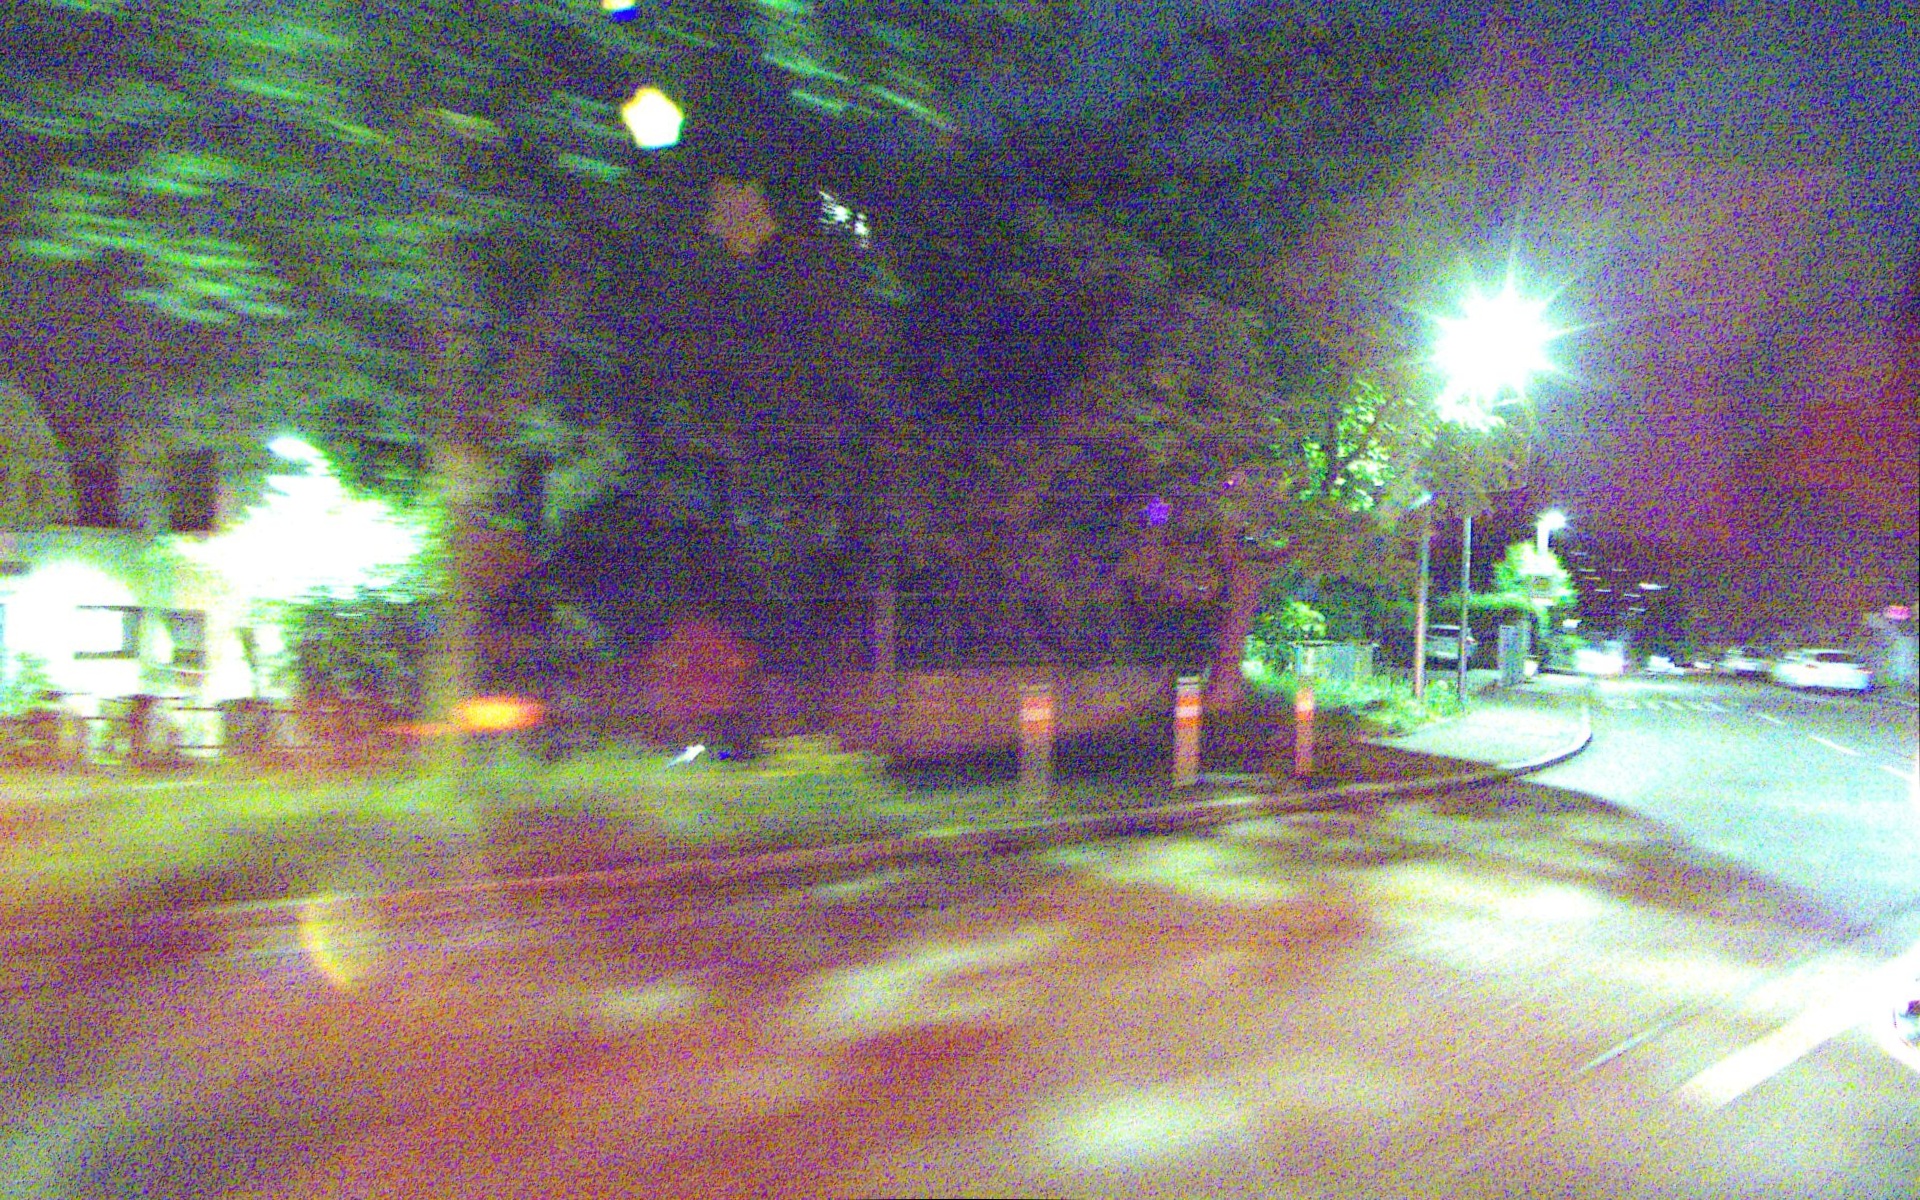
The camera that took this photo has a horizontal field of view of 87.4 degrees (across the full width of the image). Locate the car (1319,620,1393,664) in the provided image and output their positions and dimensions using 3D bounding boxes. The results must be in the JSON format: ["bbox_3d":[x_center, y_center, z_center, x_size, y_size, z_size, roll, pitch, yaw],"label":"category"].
[{"bbox_3d":[14.913,1.564,37.706,1.823,1.446,3.991,2,-1,32],"label":"car"}]

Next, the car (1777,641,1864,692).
[{"bbox_3d":[31.089,2.352,36.403,1.731,1.615,4.716,3,-1,33],"label":"car"}]

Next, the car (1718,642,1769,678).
[{"bbox_3d":[42.652,3.251,54.783,1.695,1.784,4.746,3,-1,33],"label":"car"}]

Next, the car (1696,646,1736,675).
[{"bbox_3d":[48.343,3.894,64.291,1.807,1.685,4.606,2,-3,34],"label":"car"}]

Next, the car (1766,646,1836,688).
[{"bbox_3d":[33.555,2.640,40.158,1.586,1.480,3.707,-1,-2,32],"label":"car"}]

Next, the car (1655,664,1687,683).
[{"bbox_3d":[63.445,6.528,89.669,1.737,1.495,4.271,4,-2,29],"label":"car"}]

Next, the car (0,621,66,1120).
[{"bbox_3d":[-4.579,0.753,1.680,4.225,1.448,1.723,1,-1,-21],"label":"car"}]

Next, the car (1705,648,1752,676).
[{"bbox_3d":[45.466,3.669,59.474,1.719,1.490,4.247,4,-1,32],"label":"car"}]

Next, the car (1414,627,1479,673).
[{"bbox_3d":[17.593,1.761,36.284,1.944,1.458,3.995,2,-1,27],"label":"car"}]
